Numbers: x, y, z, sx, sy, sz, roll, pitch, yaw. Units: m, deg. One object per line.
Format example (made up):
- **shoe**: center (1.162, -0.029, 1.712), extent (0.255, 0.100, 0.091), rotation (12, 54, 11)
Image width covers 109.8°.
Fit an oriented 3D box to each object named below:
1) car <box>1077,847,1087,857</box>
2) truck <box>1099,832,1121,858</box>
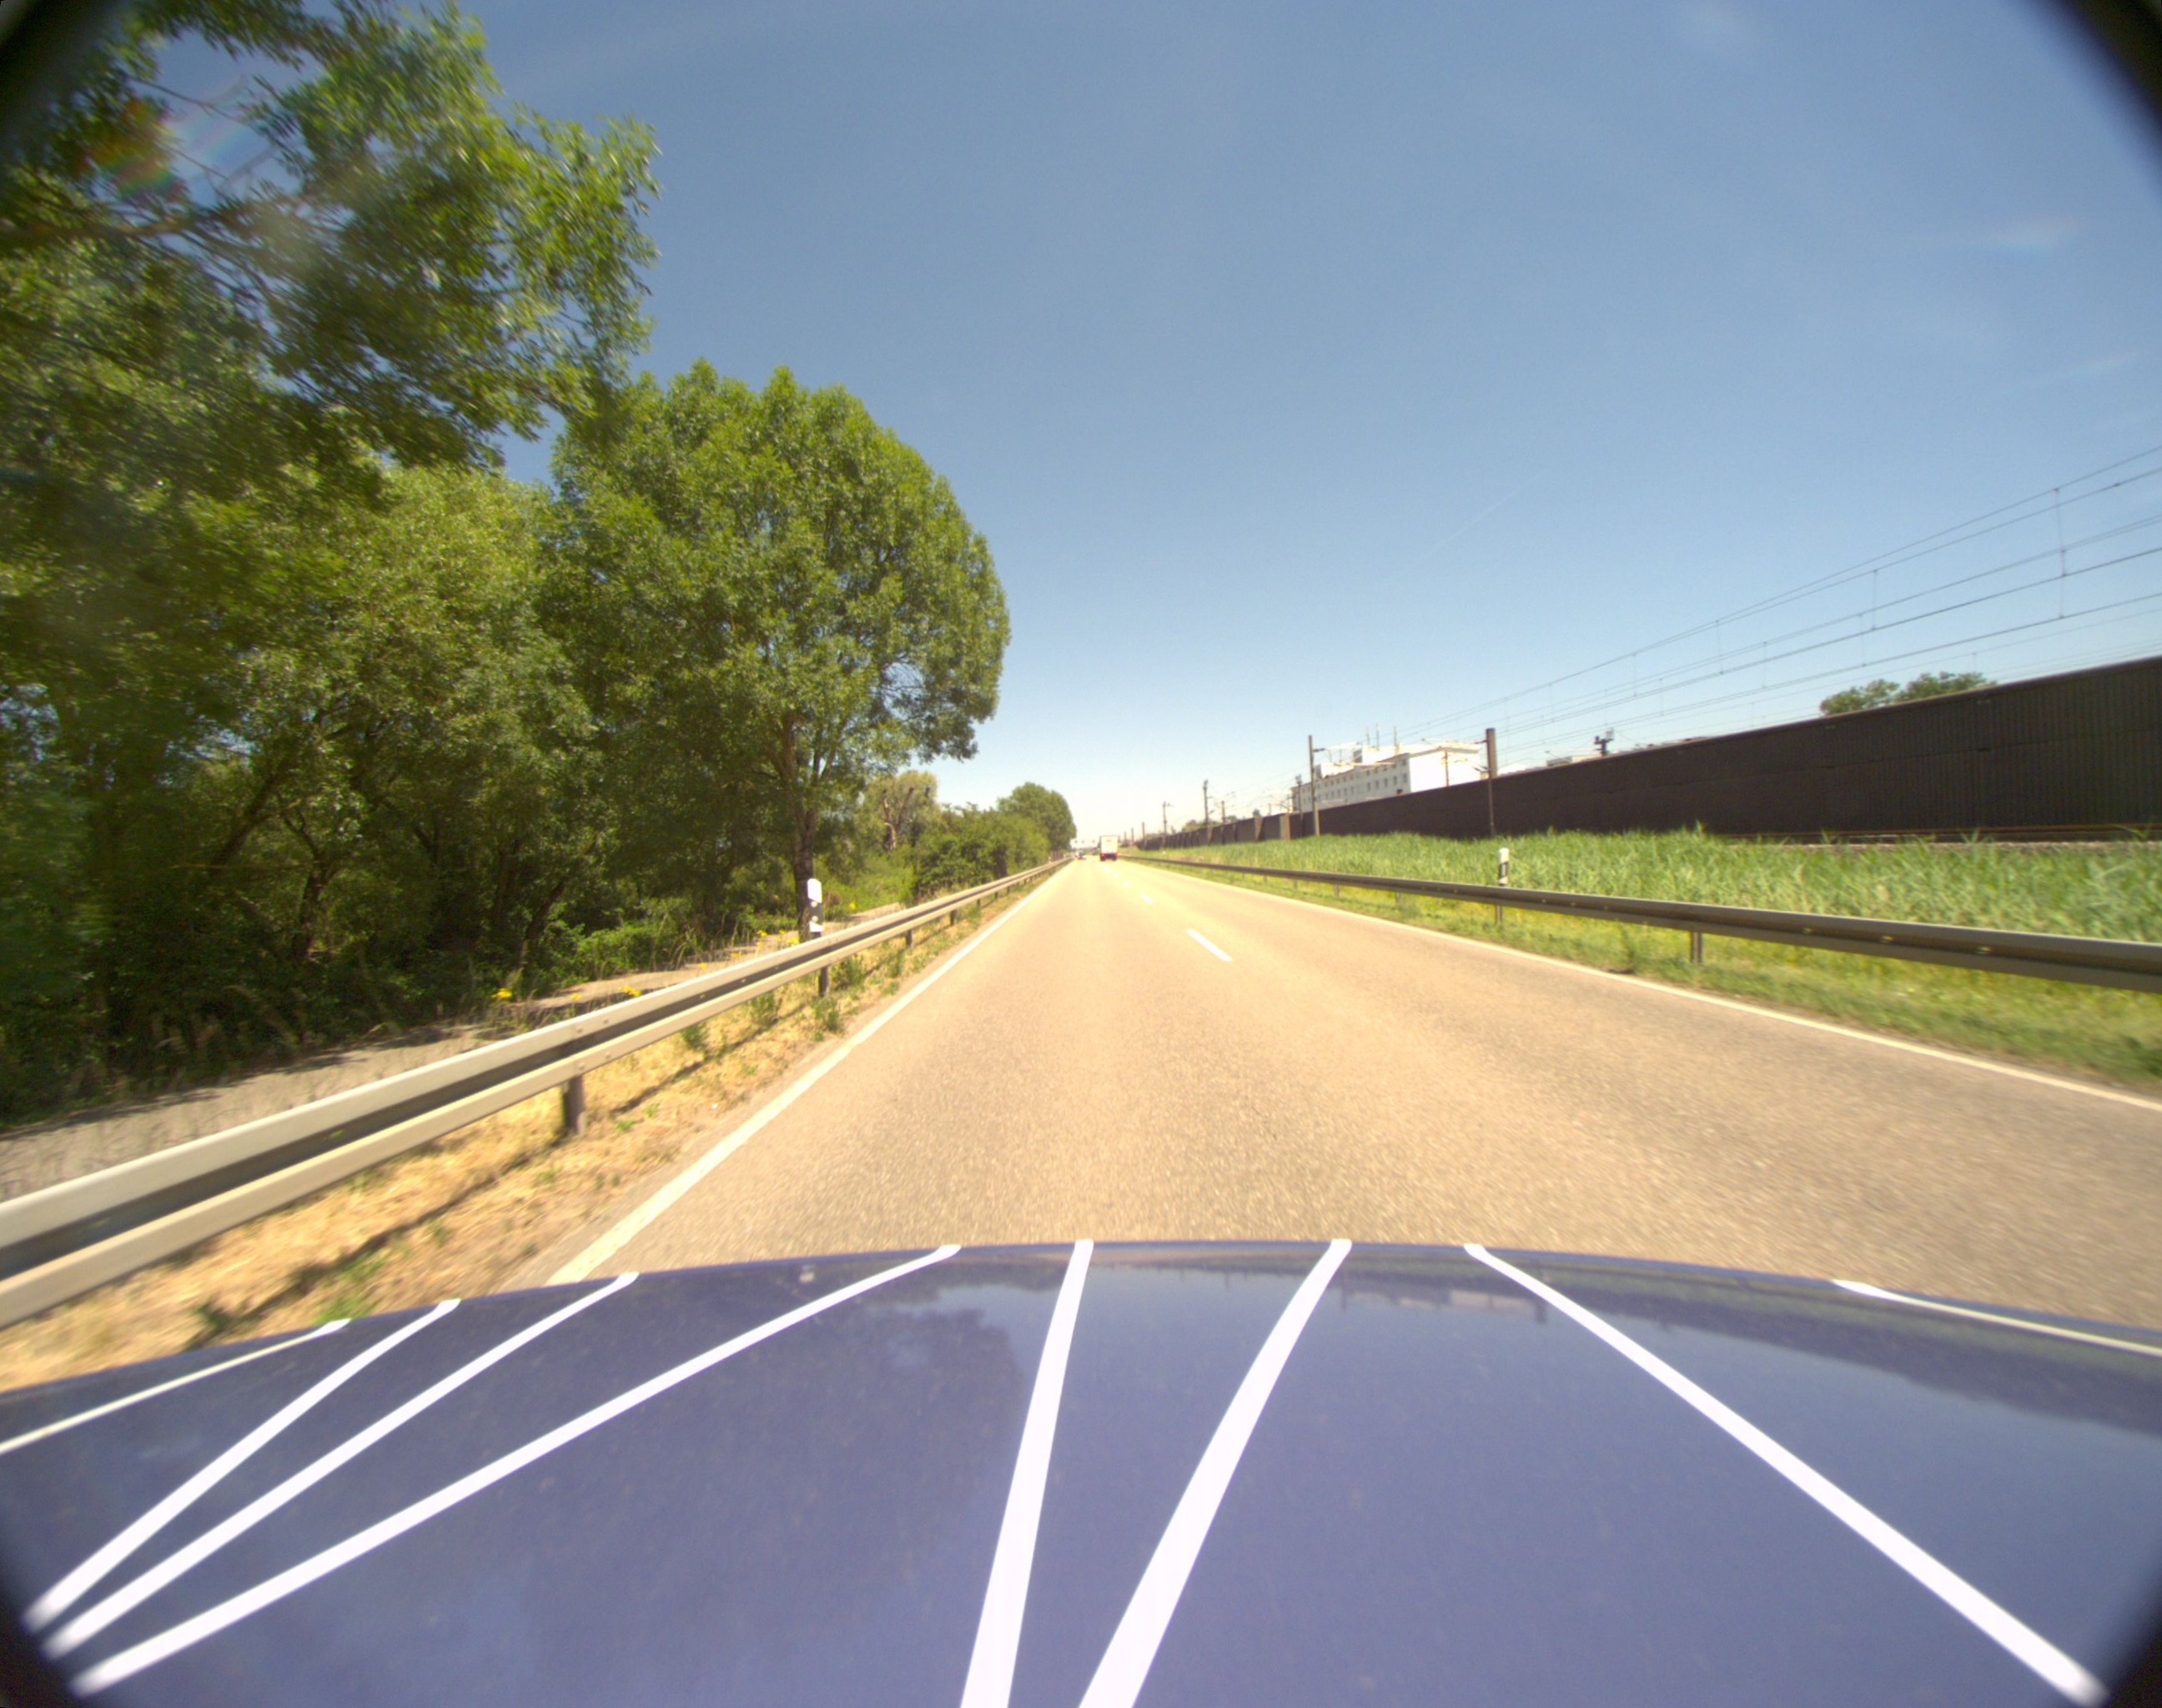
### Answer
- **car**: center (0.256, -0.461, 159.509), extent (1.999, 2.002, 3.999), rotation (-2, 0, -1)
- **truck**: center (4.669, -1.358, 122.707), extent (2.804, 3.955, 10.497), rotation (-2, 0, -1)
